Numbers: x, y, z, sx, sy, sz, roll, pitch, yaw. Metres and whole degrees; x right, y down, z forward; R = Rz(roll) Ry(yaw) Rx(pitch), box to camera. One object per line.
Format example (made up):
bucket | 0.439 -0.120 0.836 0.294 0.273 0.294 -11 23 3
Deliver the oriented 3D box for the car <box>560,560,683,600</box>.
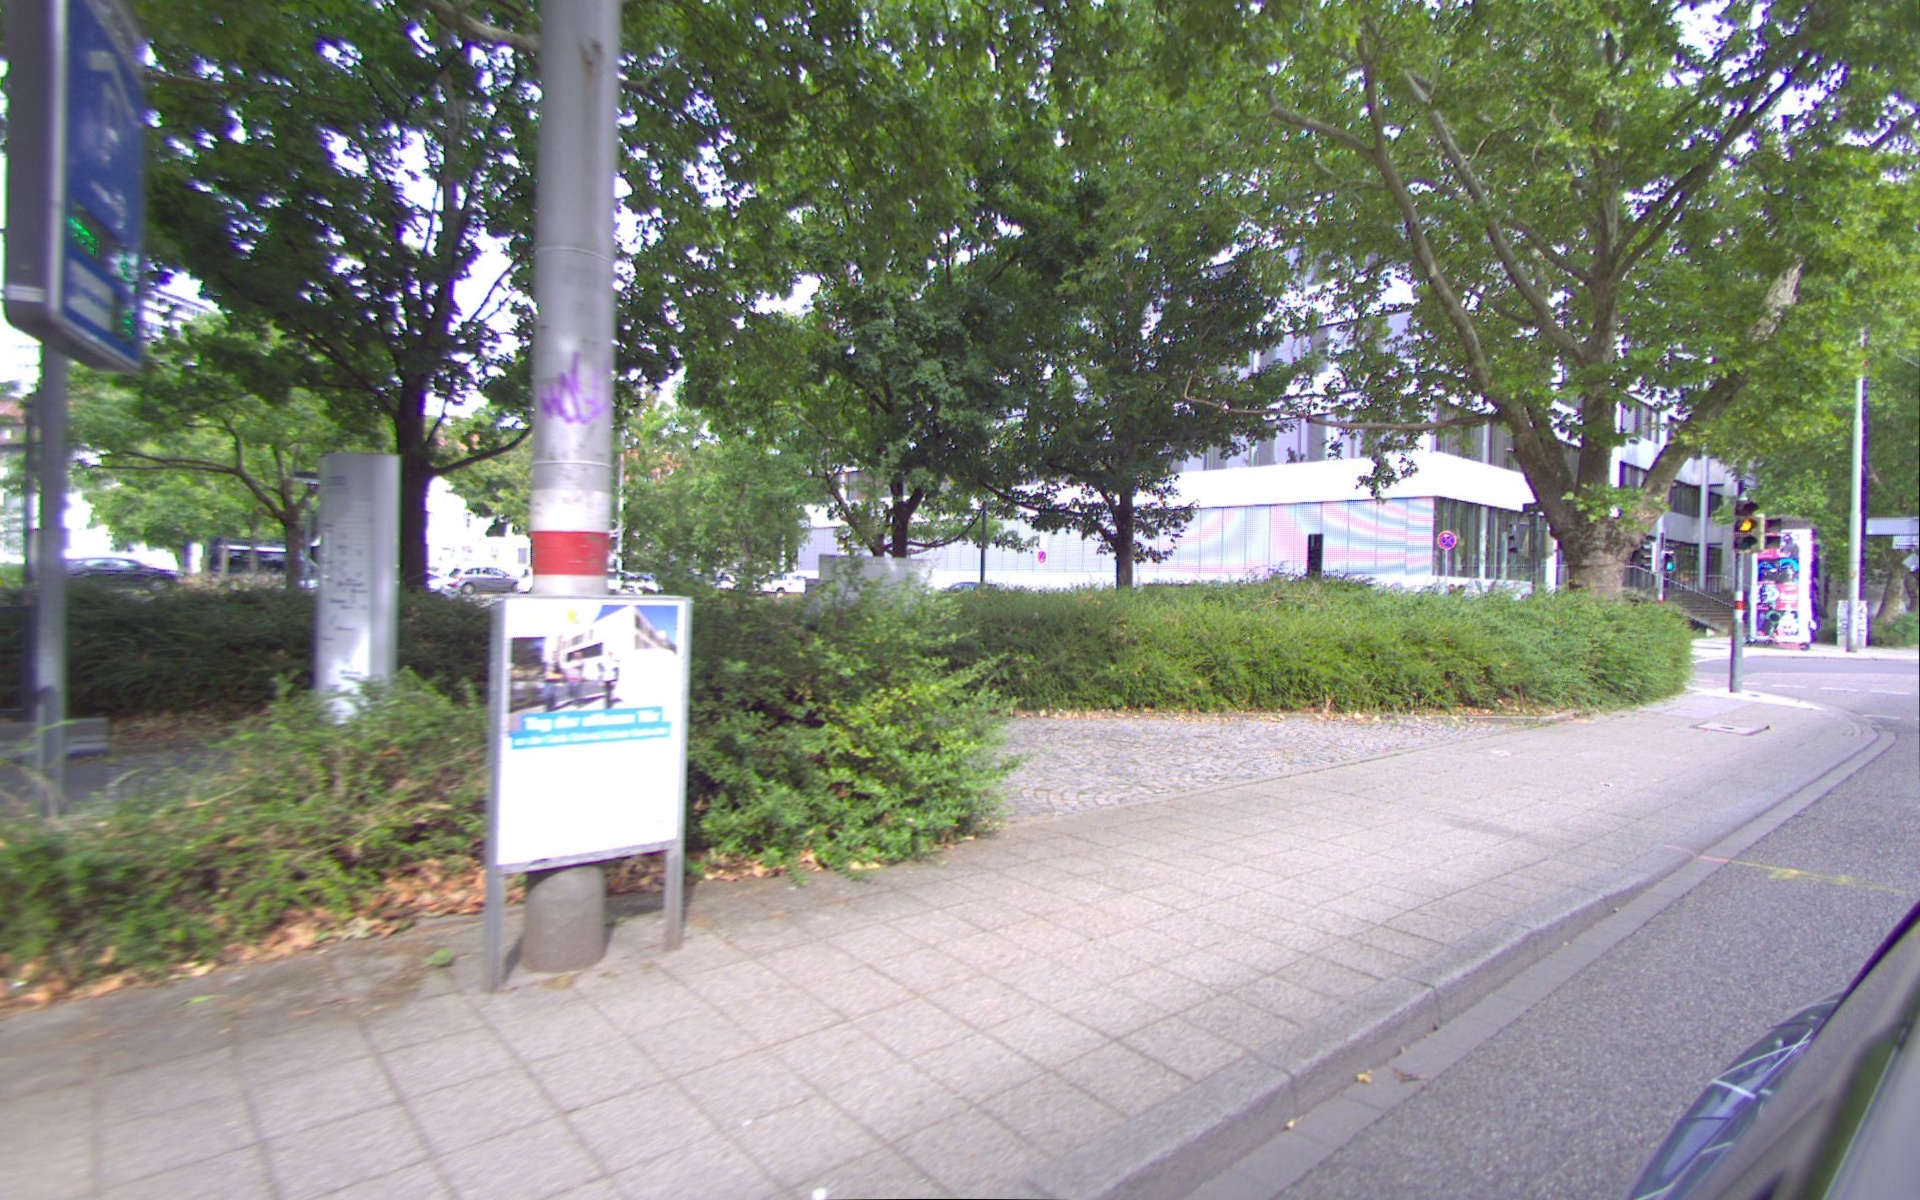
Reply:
car | -14.787 -0.833 44.334 4.688 1.651 1.997 1 -1 -40

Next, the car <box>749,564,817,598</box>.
car | -10.408 -1.071 59.417 3.861 1.885 1.925 0 -1 40

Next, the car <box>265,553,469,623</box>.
car | -16.836 -0.292 28.907 4.694 1.817 1.994 1 -1 -45

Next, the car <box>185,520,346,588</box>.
car | -29.968 -1.893 43.777 5.405 2.647 2.437 1 -1 -44

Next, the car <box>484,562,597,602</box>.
car | -20.458 -0.854 49.487 4.694 1.817 1.995 1 -1 -44

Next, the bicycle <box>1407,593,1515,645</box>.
bicycle | 12.442 0.453 25.225 0.898 1.187 2.251 -1 2 -36

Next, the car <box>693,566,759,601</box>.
car | -14.528 -0.986 62.777 3.981 2.039 1.971 0 -1 40

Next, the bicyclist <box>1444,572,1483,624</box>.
bicyclist | 15.822 -0.039 31.800 0.759 1.604 0.801 1 -2 -37

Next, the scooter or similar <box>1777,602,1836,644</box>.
scooter or similar | 26.456 0.707 31.643 0.338 1.224 1.311 1 3 -36

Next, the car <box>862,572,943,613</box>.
car | -3.017 -0.374 52.760 3.981 2.039 1.971 0 -1 40

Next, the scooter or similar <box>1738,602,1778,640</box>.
scooter or similar | 25.688 0.662 32.609 0.465 1.151 1.305 3 2 14

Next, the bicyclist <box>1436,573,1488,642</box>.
bicyclist | 12.525 0.169 25.234 0.898 1.699 0.831 -1 1 -37

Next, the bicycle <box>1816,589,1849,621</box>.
bicycle | 32.904 0.203 38.150 1.695 1.184 0.699 1 -1 -41

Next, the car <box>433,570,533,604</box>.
car | -26.716 -0.706 56.791 4.694 1.817 1.994 1 -1 -45

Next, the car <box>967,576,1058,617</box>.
car | 2.455 -0.143 47.857 3.981 1.883 1.971 0 -1 40
